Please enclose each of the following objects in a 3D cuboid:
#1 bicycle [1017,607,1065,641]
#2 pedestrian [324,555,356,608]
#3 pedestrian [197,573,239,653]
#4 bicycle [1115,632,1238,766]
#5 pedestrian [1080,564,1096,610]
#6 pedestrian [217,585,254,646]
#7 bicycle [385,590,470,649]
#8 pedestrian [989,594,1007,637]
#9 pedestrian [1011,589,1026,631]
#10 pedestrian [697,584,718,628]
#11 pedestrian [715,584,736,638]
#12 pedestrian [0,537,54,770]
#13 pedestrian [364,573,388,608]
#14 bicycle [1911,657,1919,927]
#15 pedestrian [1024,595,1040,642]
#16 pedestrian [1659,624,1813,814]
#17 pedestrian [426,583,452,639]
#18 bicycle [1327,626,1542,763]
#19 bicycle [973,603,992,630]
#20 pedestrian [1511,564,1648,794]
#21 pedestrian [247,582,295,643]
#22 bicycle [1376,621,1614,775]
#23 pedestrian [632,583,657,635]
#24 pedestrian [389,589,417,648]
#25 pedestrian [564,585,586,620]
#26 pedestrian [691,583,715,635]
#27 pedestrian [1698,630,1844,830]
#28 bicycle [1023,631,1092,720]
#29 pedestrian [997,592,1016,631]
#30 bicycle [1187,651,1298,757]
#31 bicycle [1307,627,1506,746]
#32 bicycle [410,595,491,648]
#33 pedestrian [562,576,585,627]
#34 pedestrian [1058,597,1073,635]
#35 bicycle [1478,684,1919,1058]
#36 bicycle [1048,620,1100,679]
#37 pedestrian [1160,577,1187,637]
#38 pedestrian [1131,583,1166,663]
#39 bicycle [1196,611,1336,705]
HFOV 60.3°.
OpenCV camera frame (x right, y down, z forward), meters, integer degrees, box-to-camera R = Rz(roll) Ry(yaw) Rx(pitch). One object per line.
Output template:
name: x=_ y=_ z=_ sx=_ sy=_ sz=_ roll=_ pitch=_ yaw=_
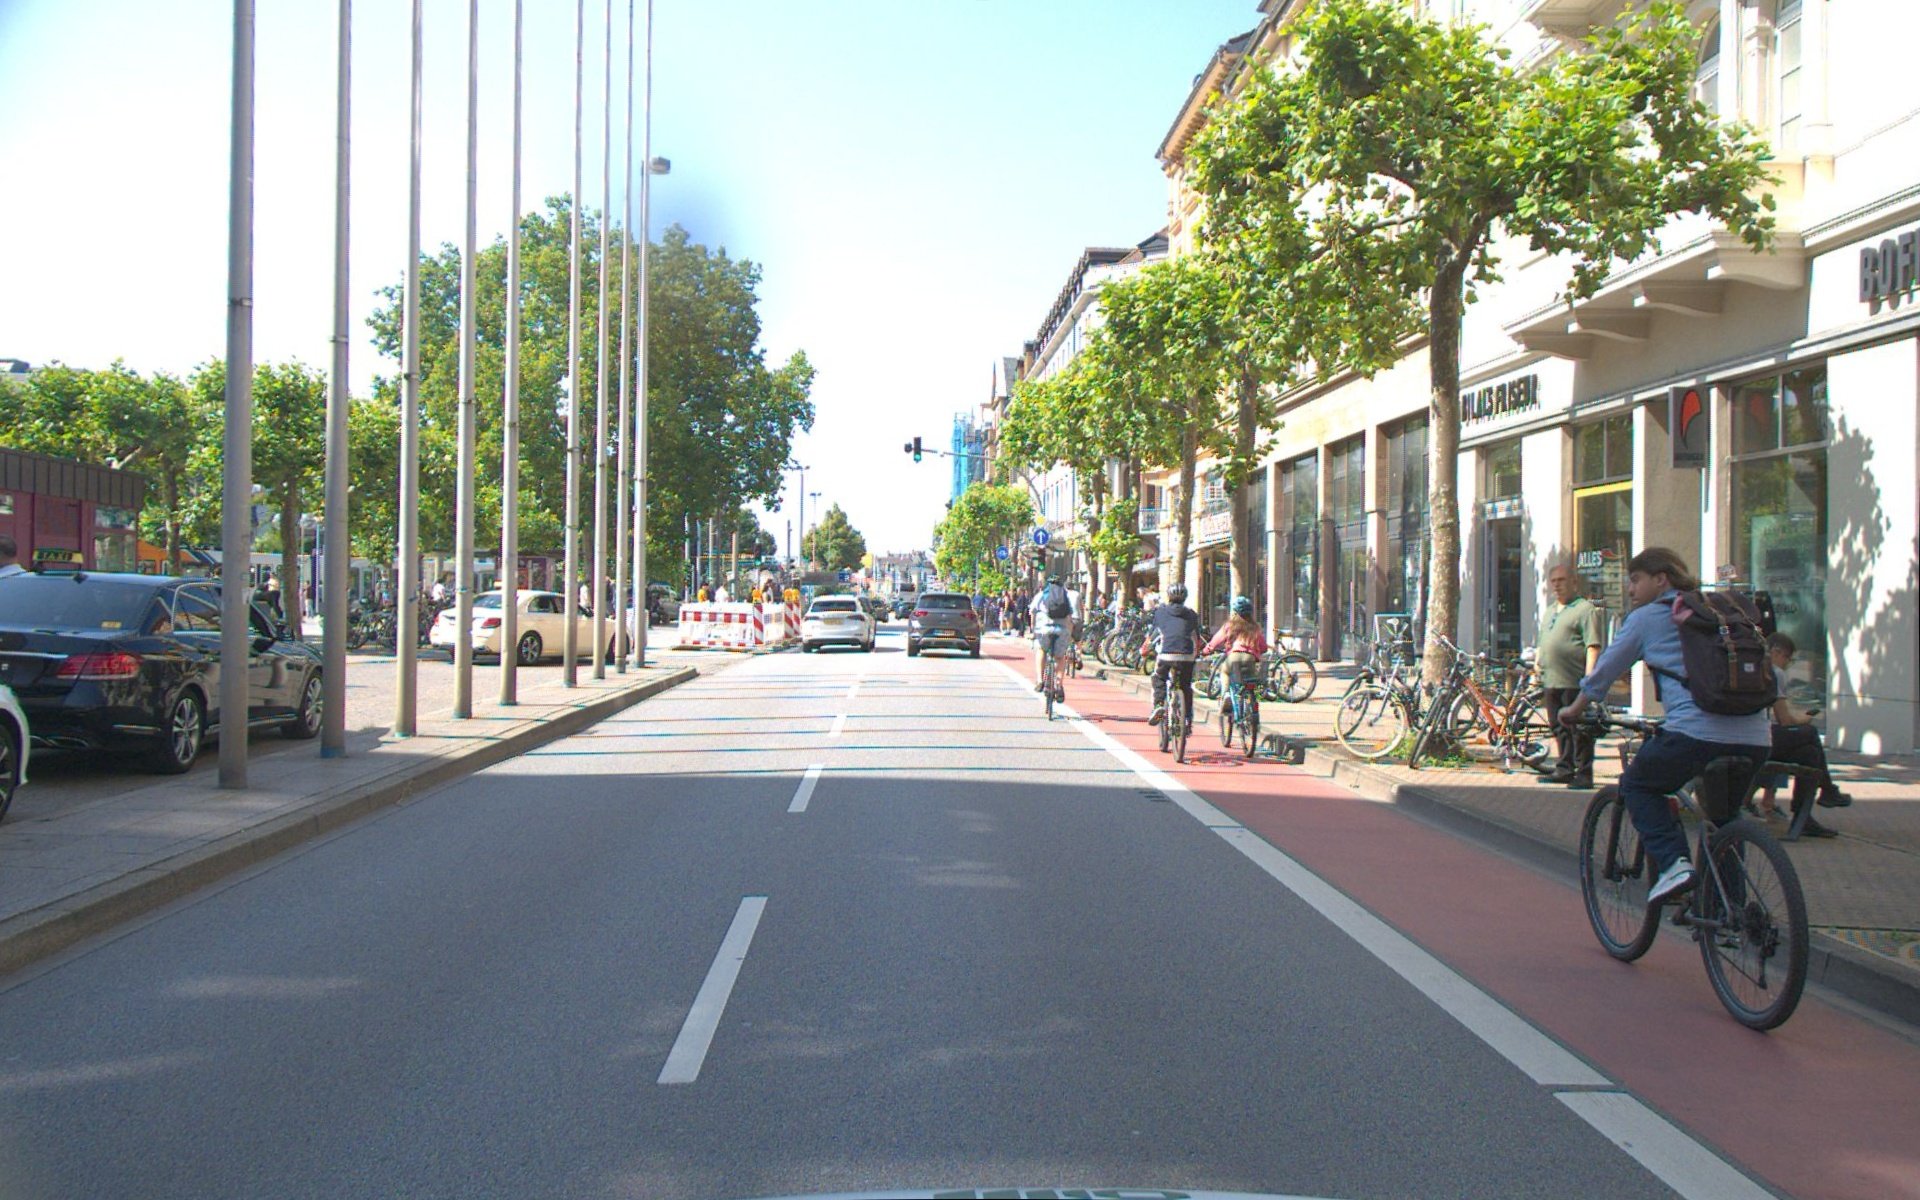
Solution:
bicycle: x=2.732 y=0.810 z=56.216 sx=0.595 sy=1.101 sz=1.815 roll=-2 pitch=0 yaw=-36
pedestrian: x=-21.509 y=-0.635 z=57.365 sx=0.593 sy=1.780 sz=0.802 roll=1 pitch=-1 yaw=29
pedestrian: x=-16.110 y=0.276 z=35.923 sx=0.659 sy=1.707 sz=0.685 roll=1 pitch=0 yaw=-10
bicycle: x=2.041 y=0.910 z=15.876 sx=0.685 sy=1.146 sz=2.079 roll=2 pitch=0 yaw=-6
pedestrian: x=4.707 y=-0.468 z=60.722 sx=0.537 sy=1.669 sz=0.589 roll=-1 pitch=-1 yaw=1
pedestrian: x=-16.015 y=0.337 z=36.589 sx=0.661 sy=1.332 sz=0.683 roll=1 pitch=0 yaw=-20
bicycle: x=-12.384 y=0.460 z=38.519 sx=1.747 sy=1.331 sz=0.662 roll=1 pitch=0 yaw=-5
pedestrian: x=1.613 y=0.640 z=69.877 sx=0.598 sy=1.770 sz=0.677 roll=-3 pitch=0 yaw=-4
pedestrian: x=2.186 y=0.383 z=61.762 sx=0.512 sy=1.548 sz=0.641 roll=-1 pitch=-1 yaw=1
pedestrian: x=-10.633 y=0.240 z=69.651 sx=0.619 sy=1.842 sz=0.731 roll=0 pitch=-1 yaw=19
pedestrian: x=-7.909 y=0.368 z=55.817 sx=0.425 sy=1.770 sz=0.599 roll=2 pitch=-1 yaw=-33
pedestrian: x=-7.641 y=0.415 z=13.197 sx=0.522 sy=1.824 sz=0.537 roll=1 pitch=0 yaw=37
pedestrian: x=-21.900 y=-0.357 z=62.013 sx=0.601 sy=1.284 sz=0.609 roll=1 pitch=0 yaw=43
bicycle: x=5.228 y=0.889 z=7.705 sx=1.756 sy=1.218 sz=0.572 roll=1 pitch=0 yaw=-30
pedestrian: x=2.567 y=0.664 z=59.269 sx=0.537 sy=1.659 sz=0.589 roll=-1 pitch=-1 yaw=1
pedestrian: x=5.360 y=0.808 z=11.444 sx=0.772 sy=1.265 sz=0.575 roll=2 pitch=-1 yaw=-5
pedestrian: x=-16.963 y=0.362 z=53.877 sx=0.564 sy=1.769 sz=0.606 roll=2 pitch=-1 yaw=4
bicycle: x=4.308 y=0.849 z=15.096 sx=1.801 sy=1.146 sz=0.498 roll=2 pitch=0 yaw=9
bicycle: x=0.862 y=0.630 z=63.820 sx=0.634 sy=1.015 sz=2.030 roll=1 pitch=0 yaw=-2
pedestrian: x=4.841 y=0.594 z=12.968 sx=0.626 sy=1.718 sz=0.842 roll=3 pitch=0 yaw=-5
pedestrian: x=-16.237 y=0.300 z=38.989 sx=0.657 sy=1.405 sz=0.898 roll=1 pitch=0 yaw=6
bicycle: x=4.511 y=0.811 z=14.038 sx=1.801 sy=1.218 sz=0.674 roll=1 pitch=0 yaw=5
pedestrian: x=-11.667 y=0.327 z=61.124 sx=0.619 sy=1.891 sz=0.687 roll=0 pitch=-1 yaw=19
pedestrian: x=-18.234 y=0.598 z=54.115 sx=0.657 sy=1.912 sz=0.623 roll=3 pitch=-1 yaw=-37
pedestrian: x=-16.629 y=0.107 z=71.451 sx=0.619 sy=1.504 sz=0.731 roll=1 pitch=-1 yaw=19
pedestrian: x=-8.718 y=0.295 z=56.079 sx=0.534 sy=1.748 sz=0.599 roll=2 pitch=-1 yaw=-33
pedestrian: x=5.276 y=0.831 z=10.784 sx=0.626 sy=1.254 sz=0.596 roll=2 pitch=-1 yaw=-5
bicycle: x=1.178 y=0.896 z=20.295 sx=0.617 sy=0.997 sz=2.087 roll=0 pitch=0 yaw=-3
pedestrian: x=1.876 y=0.468 z=67.027 sx=0.598 sy=1.541 sz=0.677 roll=-3 pitch=0 yaw=-4
bicycle: x=2.782 y=1.001 z=16.508 sx=0.588 sy=0.942 sz=2.085 roll=0 pitch=-1 yaw=-5
bicycle: x=4.494 y=0.863 z=16.760 sx=1.801 sy=1.116 sz=0.794 roll=1 pitch=0 yaw=3
bicycle: x=-12.281 y=0.521 z=39.912 sx=1.747 sy=1.236 sz=0.662 roll=1 pitch=0 yaw=-5
pedestrian: x=-13.277 y=0.060 z=56.823 sx=0.572 sy=1.752 sz=0.789 roll=1 pitch=-1 yaw=0
pedestrian: x=4.693 y=0.702 z=73.606 sx=0.598 sy=1.646 sz=0.677 roll=1 pitch=1 yaw=-4
bicycle: x=2.854 y=0.977 z=6.652 sx=0.685 sy=1.146 sz=2.079 roll=2 pitch=0 yaw=-6
bicycle: x=2.145 y=0.923 z=31.361 sx=0.759 sy=1.023 sz=2.328 roll=0 pitch=0 yaw=-2
pedestrian: x=6.611 y=0.237 z=51.273 sx=0.644 sy=1.821 sz=1.232 roll=1 pitch=-2 yaw=-3
pedestrian: x=3.910 y=0.479 z=34.368 sx=0.602 sy=1.640 sz=0.744 roll=1 pitch=0 yaw=-1
bicycle: x=4.215 y=0.794 z=22.859 sx=1.801 sy=1.206 sz=0.670 roll=2 pitch=0 yaw=3
